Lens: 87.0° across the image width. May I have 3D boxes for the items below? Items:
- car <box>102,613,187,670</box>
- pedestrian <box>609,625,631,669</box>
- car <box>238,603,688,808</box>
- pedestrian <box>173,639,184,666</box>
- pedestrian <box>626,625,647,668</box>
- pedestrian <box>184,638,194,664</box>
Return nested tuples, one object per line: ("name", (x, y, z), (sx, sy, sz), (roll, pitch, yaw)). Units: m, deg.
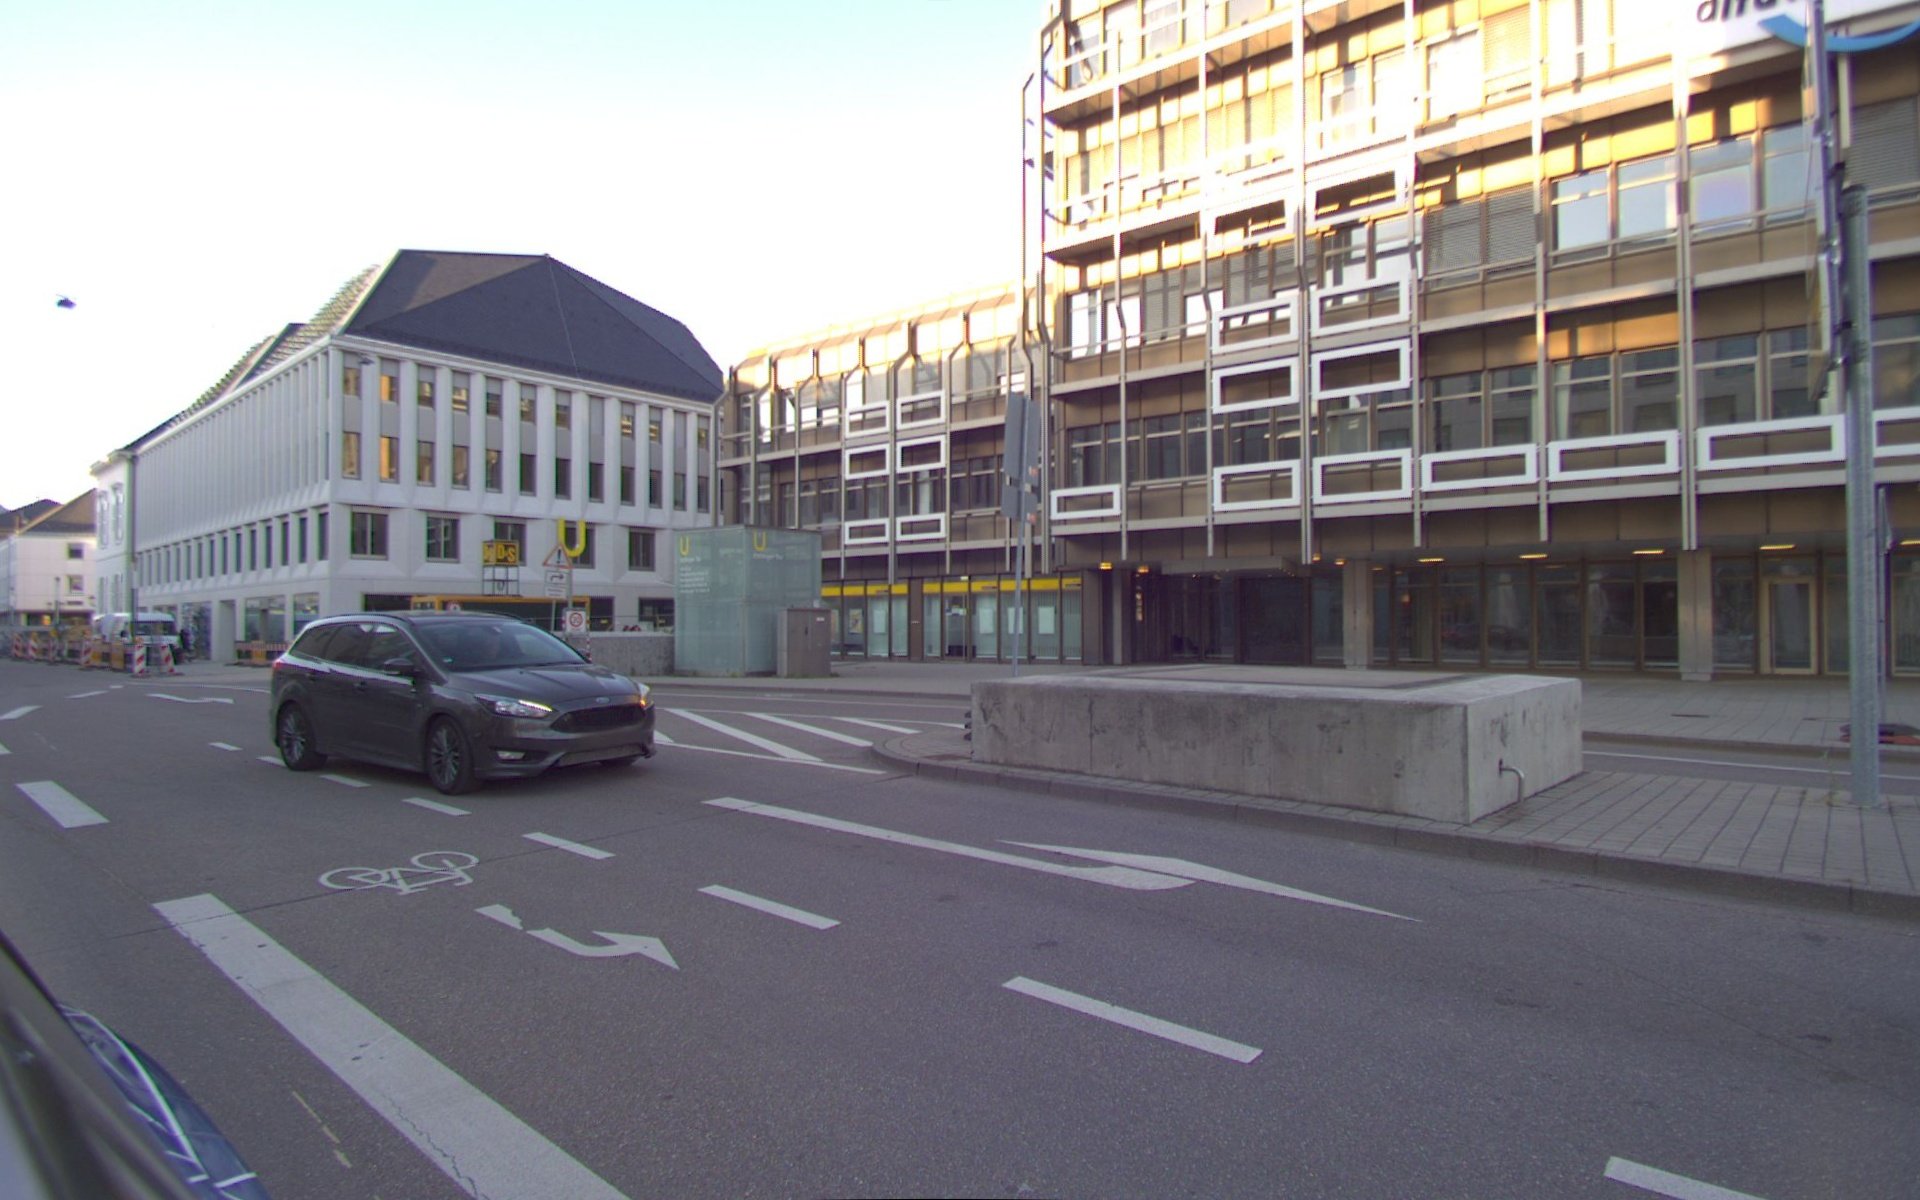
("car", (-38.839, 1.957, 48.163), (6.047, 2.575, 2.114), (-2, -3, 41))
("pedestrian", (-11.858, 1.638, 35.298), (0.555, 1.508, 0.525), (-2, -3, 41))
("car", (-4.679, 0.830, 9.307), (4.367, 1.473, 1.743), (-2, -1, 34))
("pedestrian", (-38.689, 2.606, 50.098), (0.338, 1.326, 0.346), (-2, -3, 41))
("pedestrian", (-11.491, 1.657, 35.952), (0.555, 1.508, 0.525), (-2, -3, 41))
("pedestrian", (-38.449, 2.541, 50.464), (0.338, 1.326, 0.346), (-2, -3, 41))
